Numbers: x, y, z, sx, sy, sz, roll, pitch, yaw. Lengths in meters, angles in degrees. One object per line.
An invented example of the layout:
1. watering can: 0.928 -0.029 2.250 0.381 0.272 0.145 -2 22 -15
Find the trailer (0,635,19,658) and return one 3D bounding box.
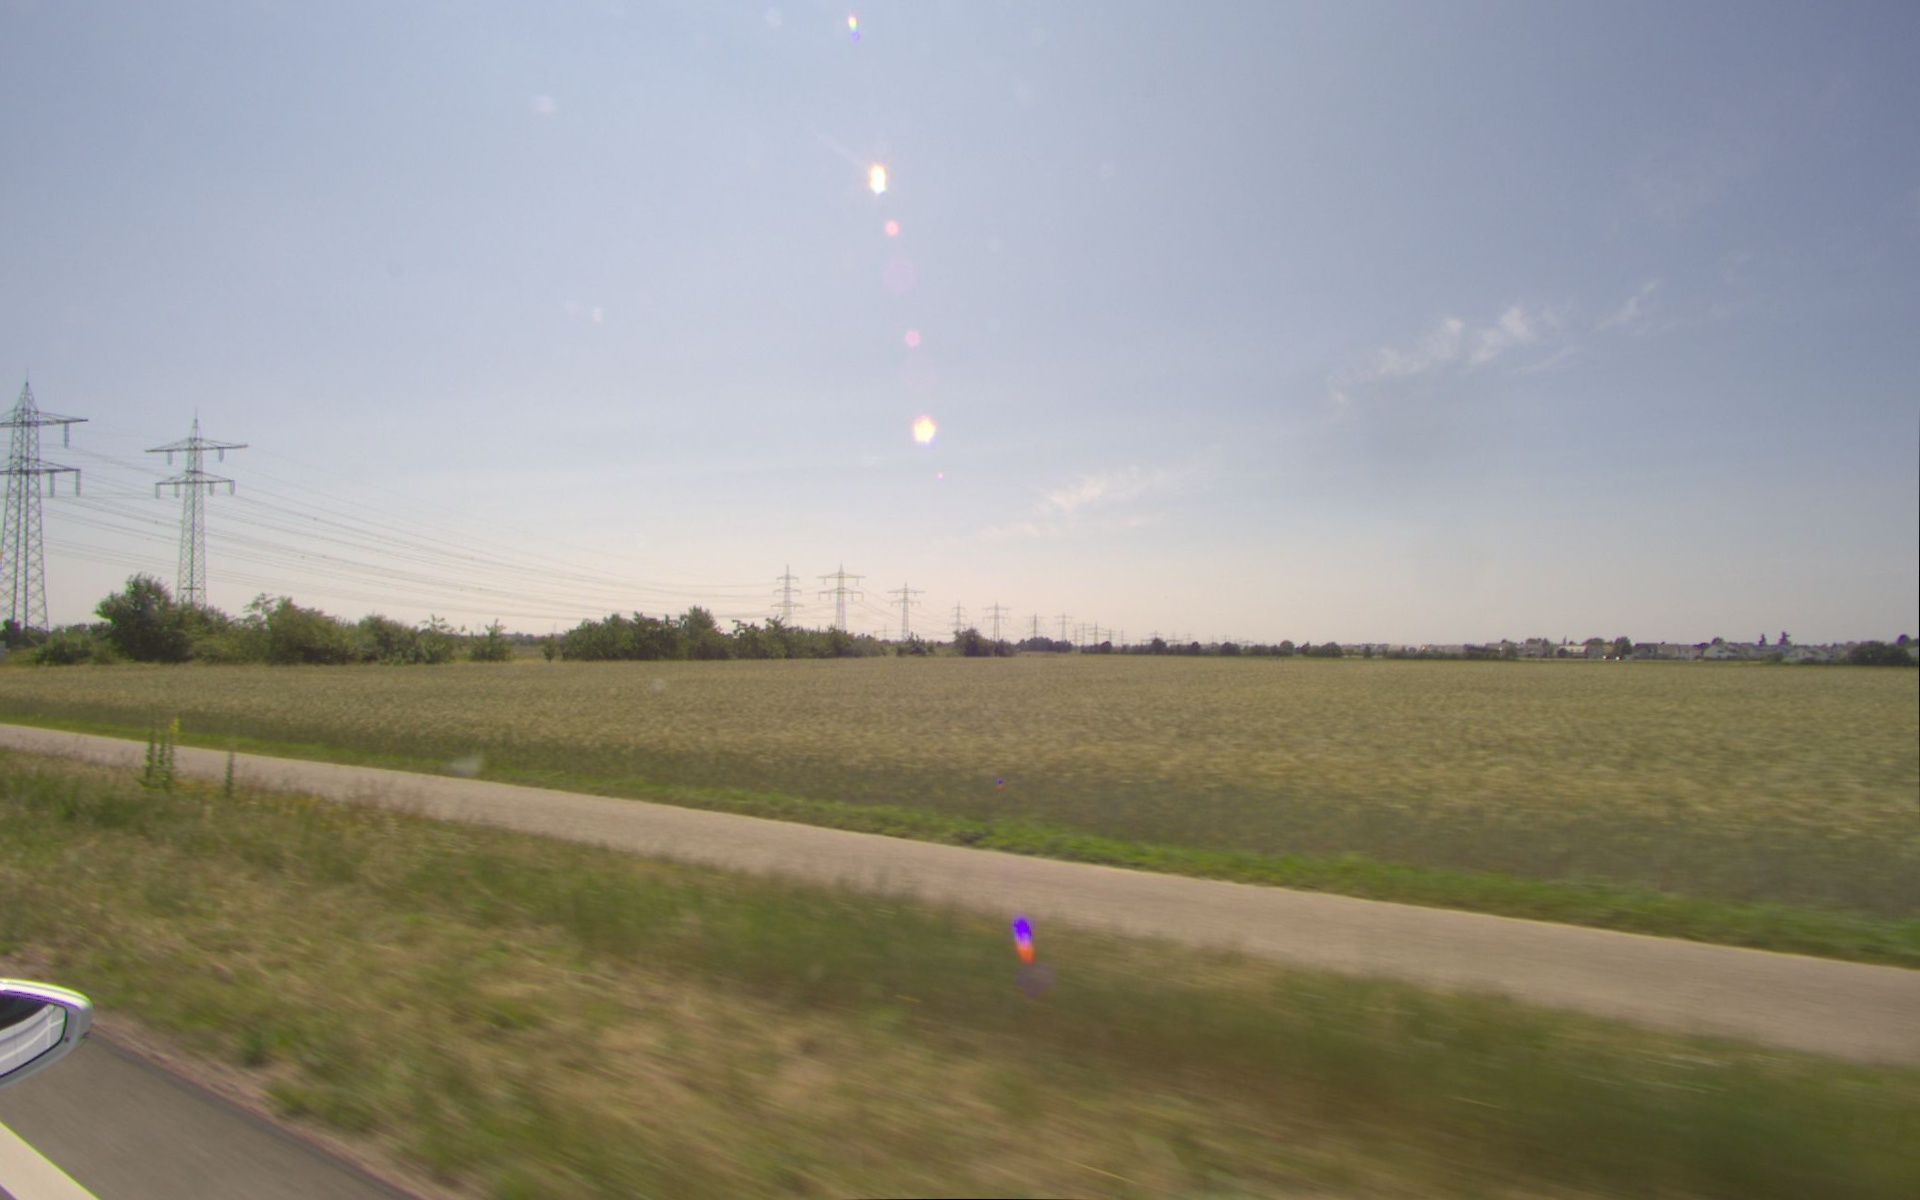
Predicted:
1. trailer: -109.124 5.245 113.281 2.007 2.493 3.406 0 -3 29

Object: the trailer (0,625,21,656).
1. trailer: -113.569 4.452 110.982 3.227 3.518 13.503 0 -3 29
